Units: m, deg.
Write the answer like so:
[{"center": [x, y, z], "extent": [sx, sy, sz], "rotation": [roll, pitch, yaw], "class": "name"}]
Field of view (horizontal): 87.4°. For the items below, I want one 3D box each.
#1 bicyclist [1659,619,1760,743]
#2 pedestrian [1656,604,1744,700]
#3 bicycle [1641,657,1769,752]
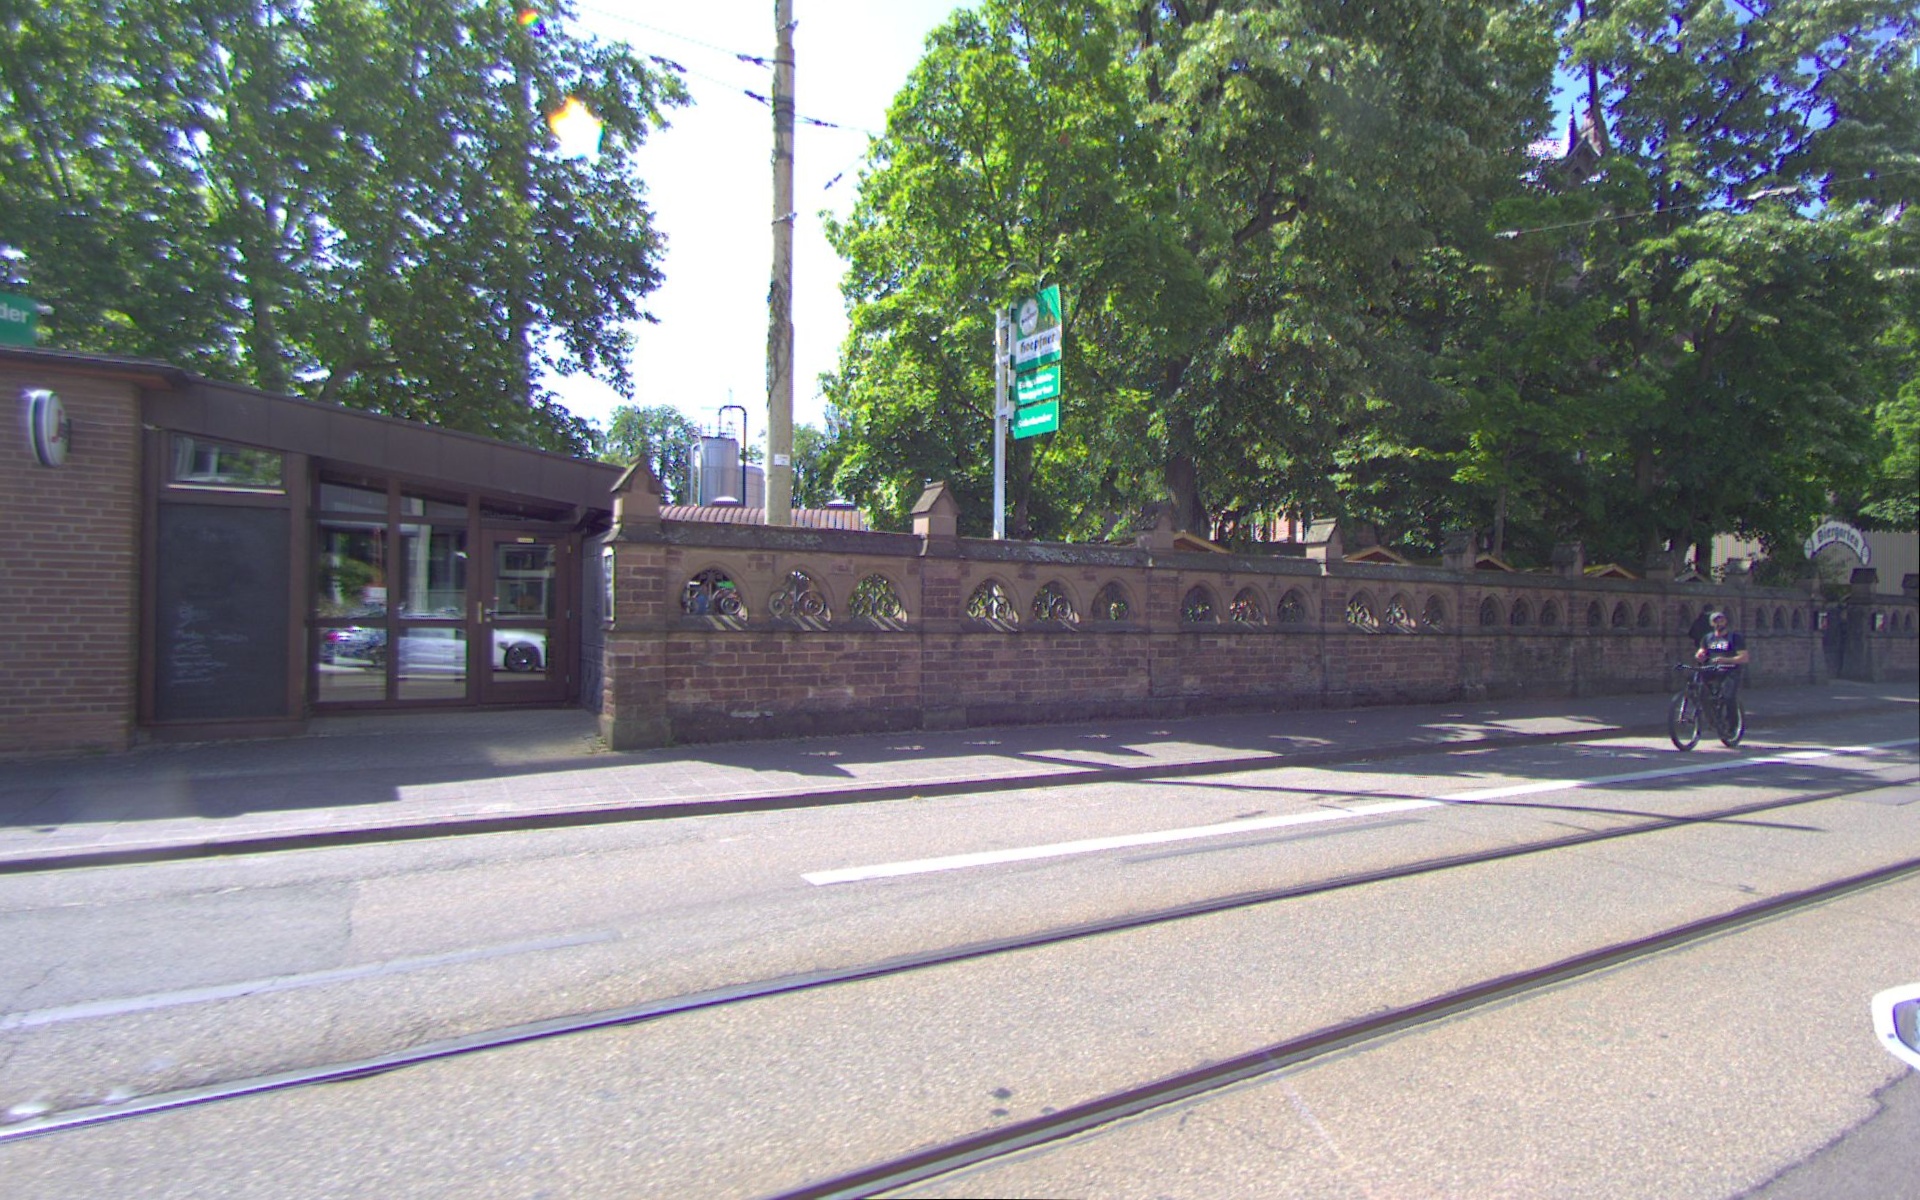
[{"center": [9.762, 1.029, 13.089], "extent": [0.936, 1.551, 0.737], "rotation": [2, -1, -30], "class": "bicyclist"}, {"center": [15.190, 1.049, 20.624], "extent": [1.171, 1.840, 0.972], "rotation": [1, 3, -30], "class": "pedestrian"}, {"center": [9.711, 1.325, 13.068], "extent": [2.030, 1.120, 0.589], "rotation": [1, 0, -30], "class": "bicycle"}]
